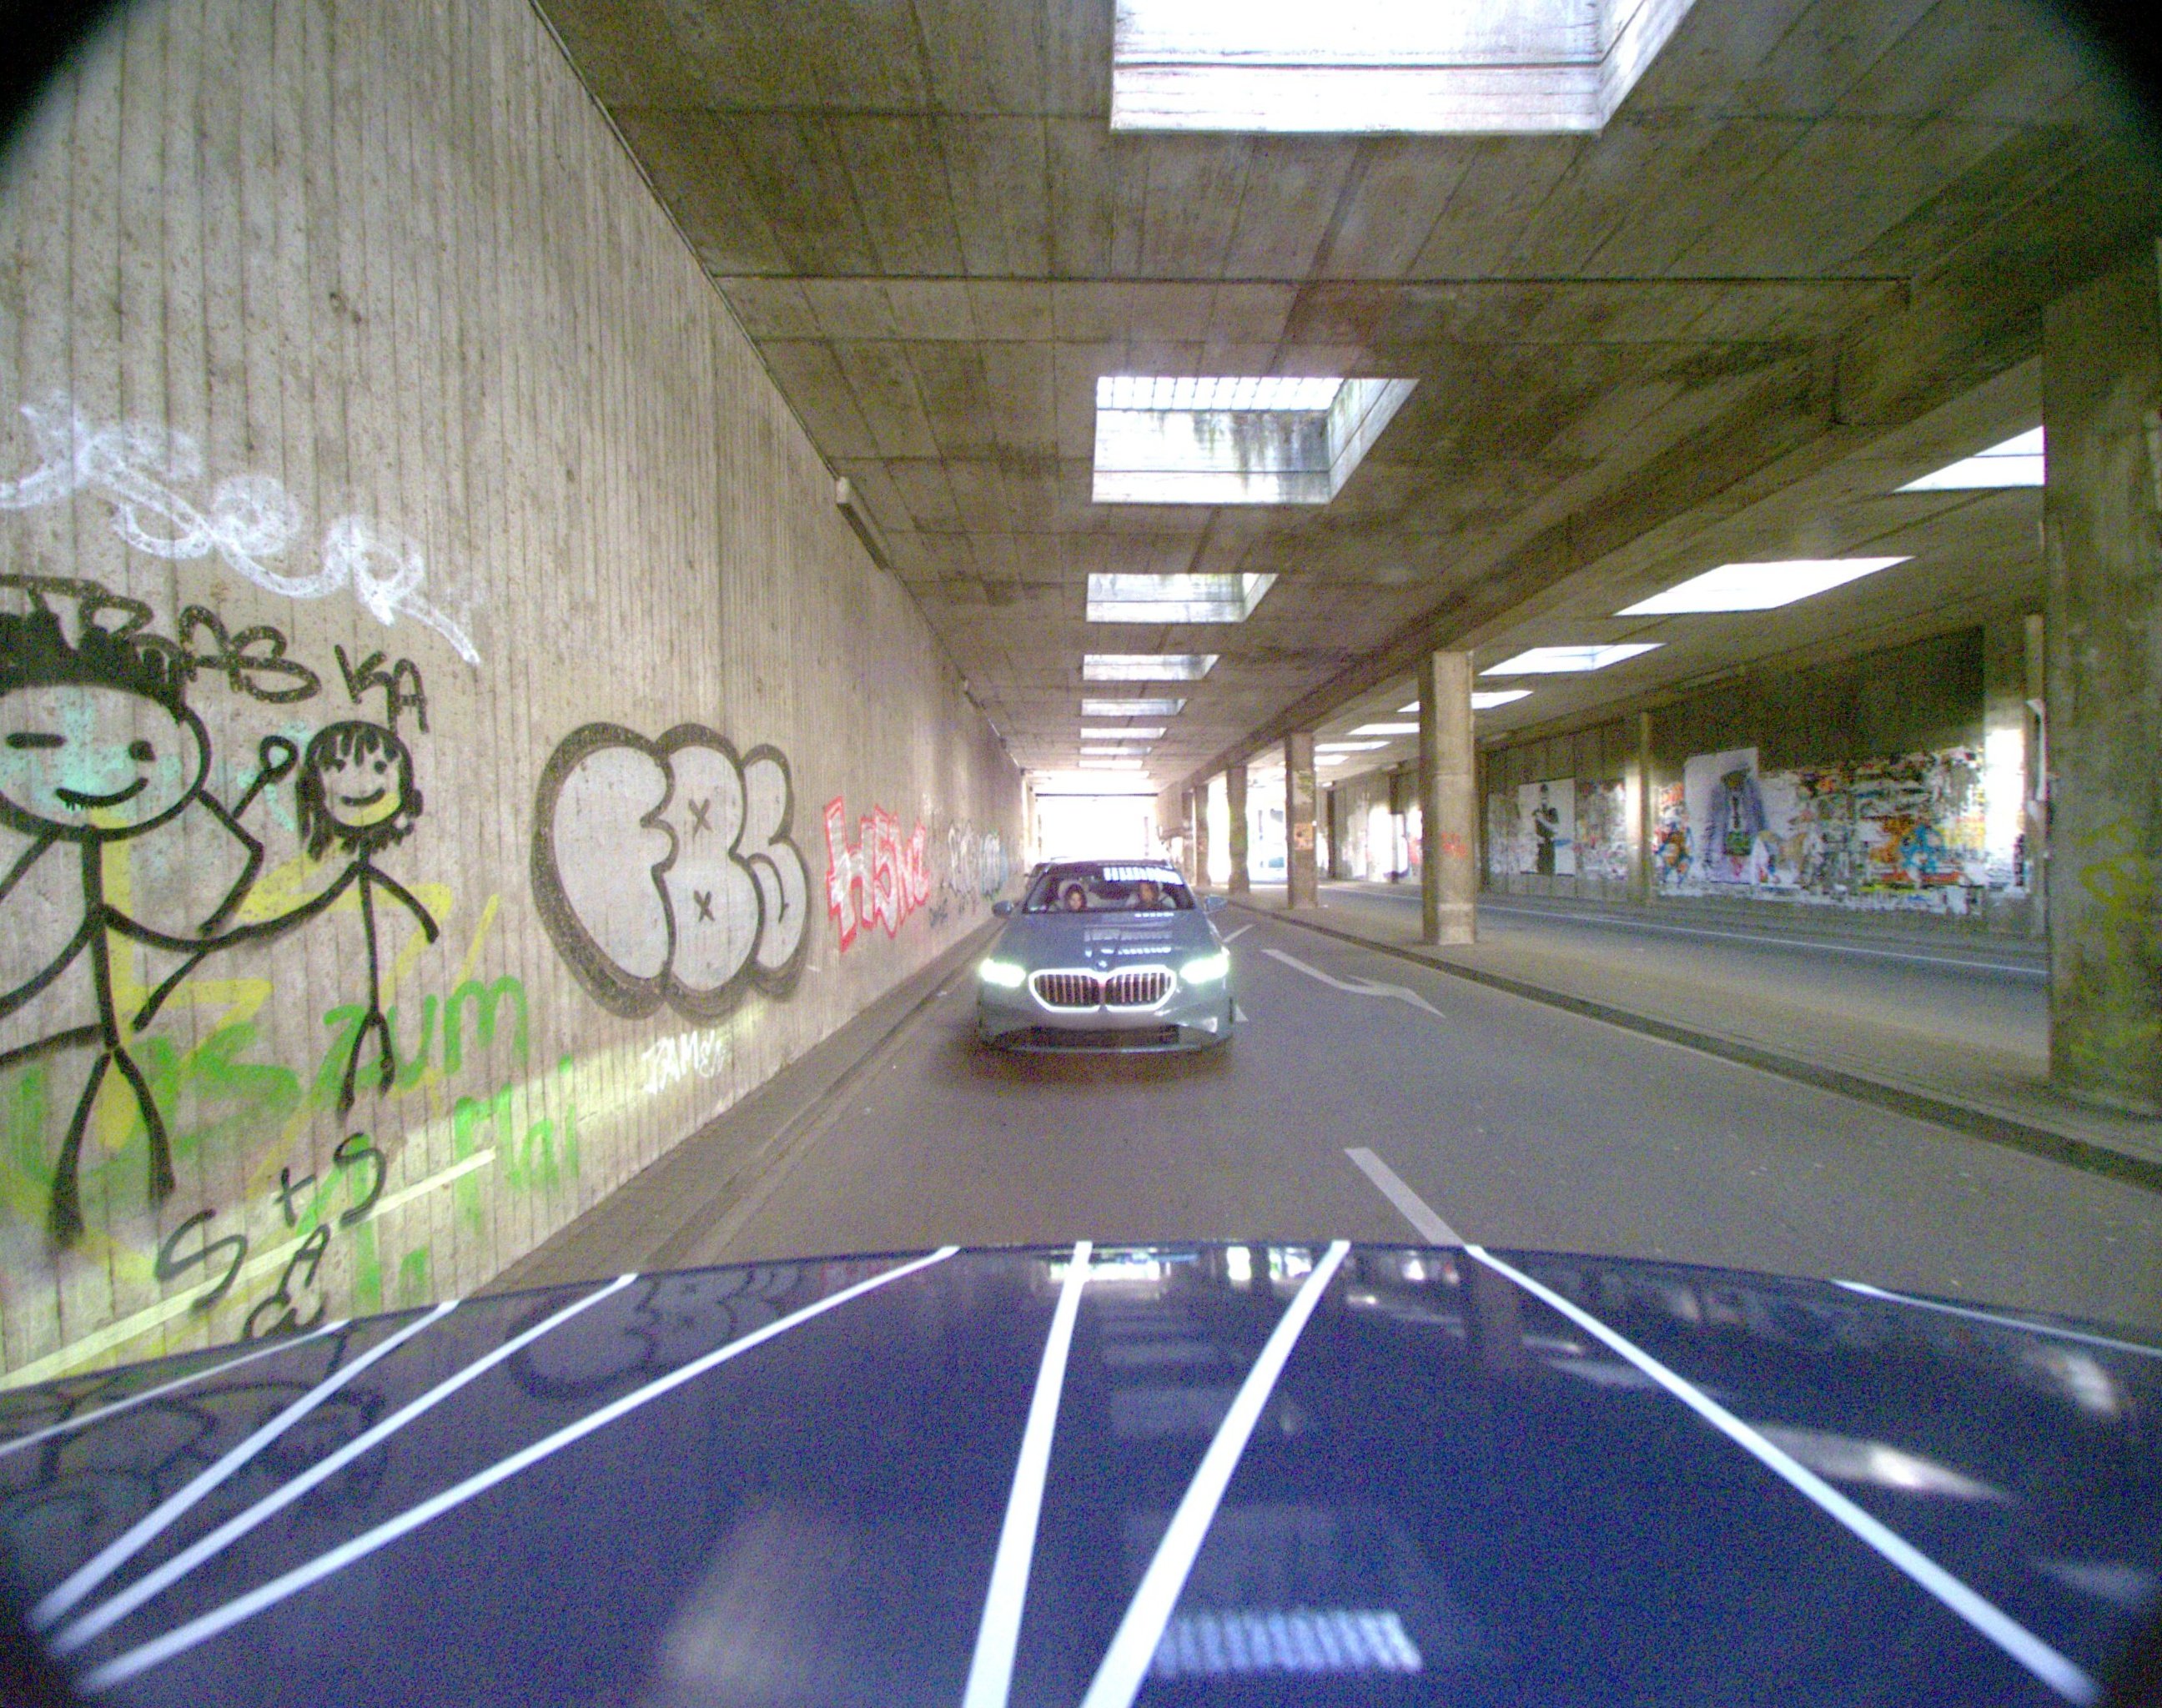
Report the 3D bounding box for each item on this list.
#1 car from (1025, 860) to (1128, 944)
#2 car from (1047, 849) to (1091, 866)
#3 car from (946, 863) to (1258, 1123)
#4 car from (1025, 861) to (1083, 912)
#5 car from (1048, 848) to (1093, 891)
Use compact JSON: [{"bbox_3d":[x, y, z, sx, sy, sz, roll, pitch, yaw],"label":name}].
[{"bbox_3d":[-0.061,0.945,16.883,1.957,1.546,4.247,-1,0,1],"label":"car"},{"bbox_3d":[-1.221,0.348,74.433,4.001,1.543,1.932,-1,0,-13],"label":"car"},{"bbox_3d":[0.167,0.917,7.360,1.957,1.546,5.040,-1,0,1],"label":"car"},{"bbox_3d":[-0.767,0.943,23.847,1.616,1.367,4.199,-1,0,1],"label":"car"},{"bbox_3d":[-0.347,0.577,29.928,1.616,1.546,4.013,-1,0,1],"label":"car"}]
